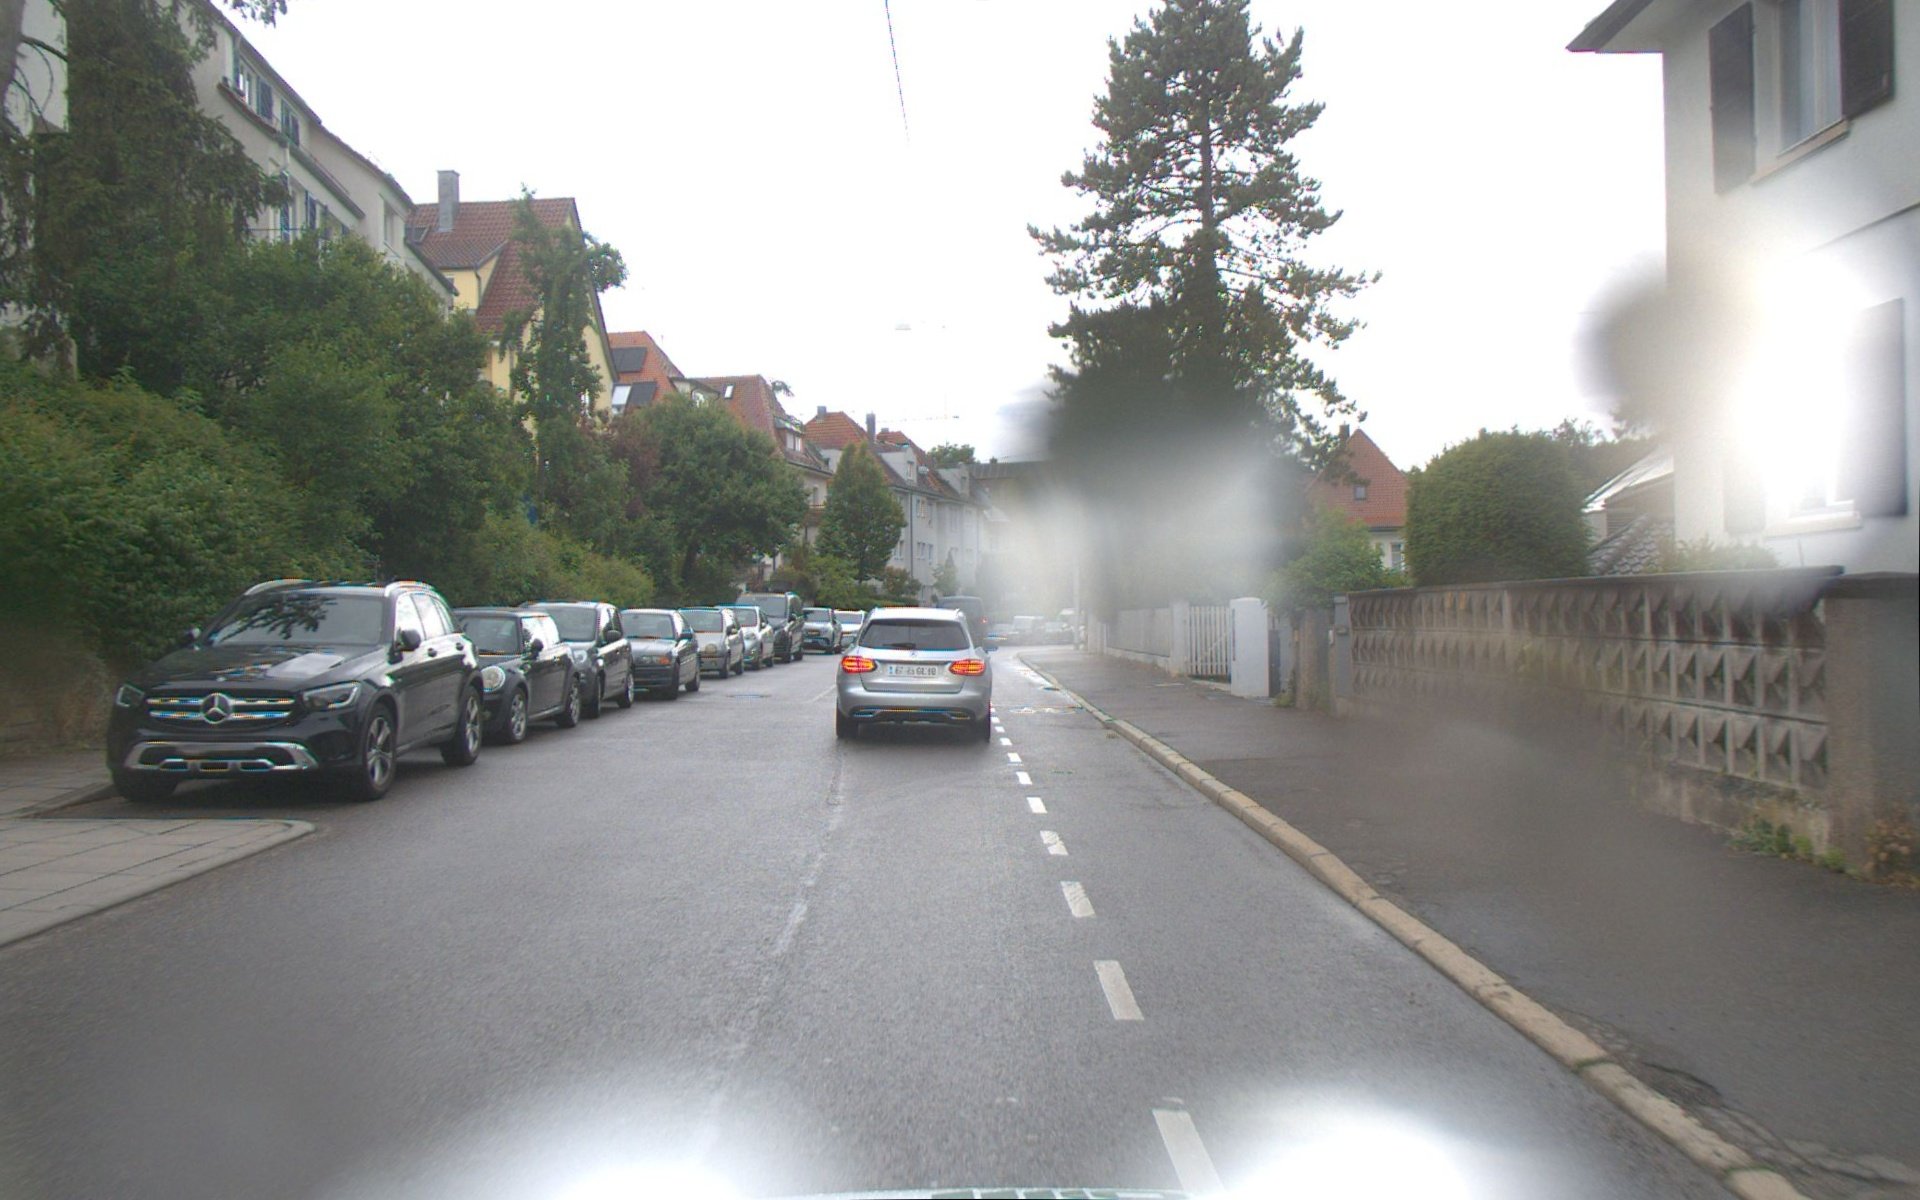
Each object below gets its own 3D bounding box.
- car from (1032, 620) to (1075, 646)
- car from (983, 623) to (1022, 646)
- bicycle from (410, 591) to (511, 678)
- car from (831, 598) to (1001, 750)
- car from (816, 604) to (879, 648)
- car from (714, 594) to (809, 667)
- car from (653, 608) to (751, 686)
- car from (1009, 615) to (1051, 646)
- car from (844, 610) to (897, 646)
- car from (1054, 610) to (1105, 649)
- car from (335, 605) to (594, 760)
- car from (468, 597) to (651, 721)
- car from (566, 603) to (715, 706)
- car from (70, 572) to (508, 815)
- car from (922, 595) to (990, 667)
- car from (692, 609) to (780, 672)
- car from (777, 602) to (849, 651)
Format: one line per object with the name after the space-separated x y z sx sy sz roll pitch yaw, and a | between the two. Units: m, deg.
6.919 2.401 122.140 1.952 1.718 4.678 1 1 20 | car
2.870 2.281 110.503 1.608 1.442 4.616 1 -1 14 | car
-8.173 0.535 27.187 0.983 1.324 2.291 0 1 0 | bicycle
-0.468 0.798 19.533 1.779 1.584 4.000 1 0 0 | car
-4.744 1.083 70.130 1.952 1.732 4.740 3 0 4 | car
-5.596 0.846 47.170 1.952 1.911 5.356 1 0 1 | car
-5.517 0.973 35.701 1.613 1.472 3.627 0 1 -1 | car
4.953 2.164 116.279 1.791 2.092 5.012 1 -1 17 | car
-4.227 1.320 78.578 1.754 1.608 4.141 3 0 7 | car
9.400 2.275 129.479 2.341 2.820 6.533 1 1 19 | car
-5.476 0.852 18.777 1.855 1.472 3.813 0 1 -1 | car
-5.474 0.760 23.025 1.662 1.568 3.813 1 0 -1 | car
-5.283 0.856 27.863 1.720 1.472 4.416 0 1 -1 | car
-5.207 0.653 13.558 1.855 1.651 4.377 1 0 -1 | car
-0.075 0.894 47.478 1.804 1.937 4.000 1 -1 2 | car
-5.491 0.979 40.949 1.659 1.472 3.813 0 -1 0 | car
-5.265 0.930 59.834 1.952 1.608 4.762 3 0 2 | car
